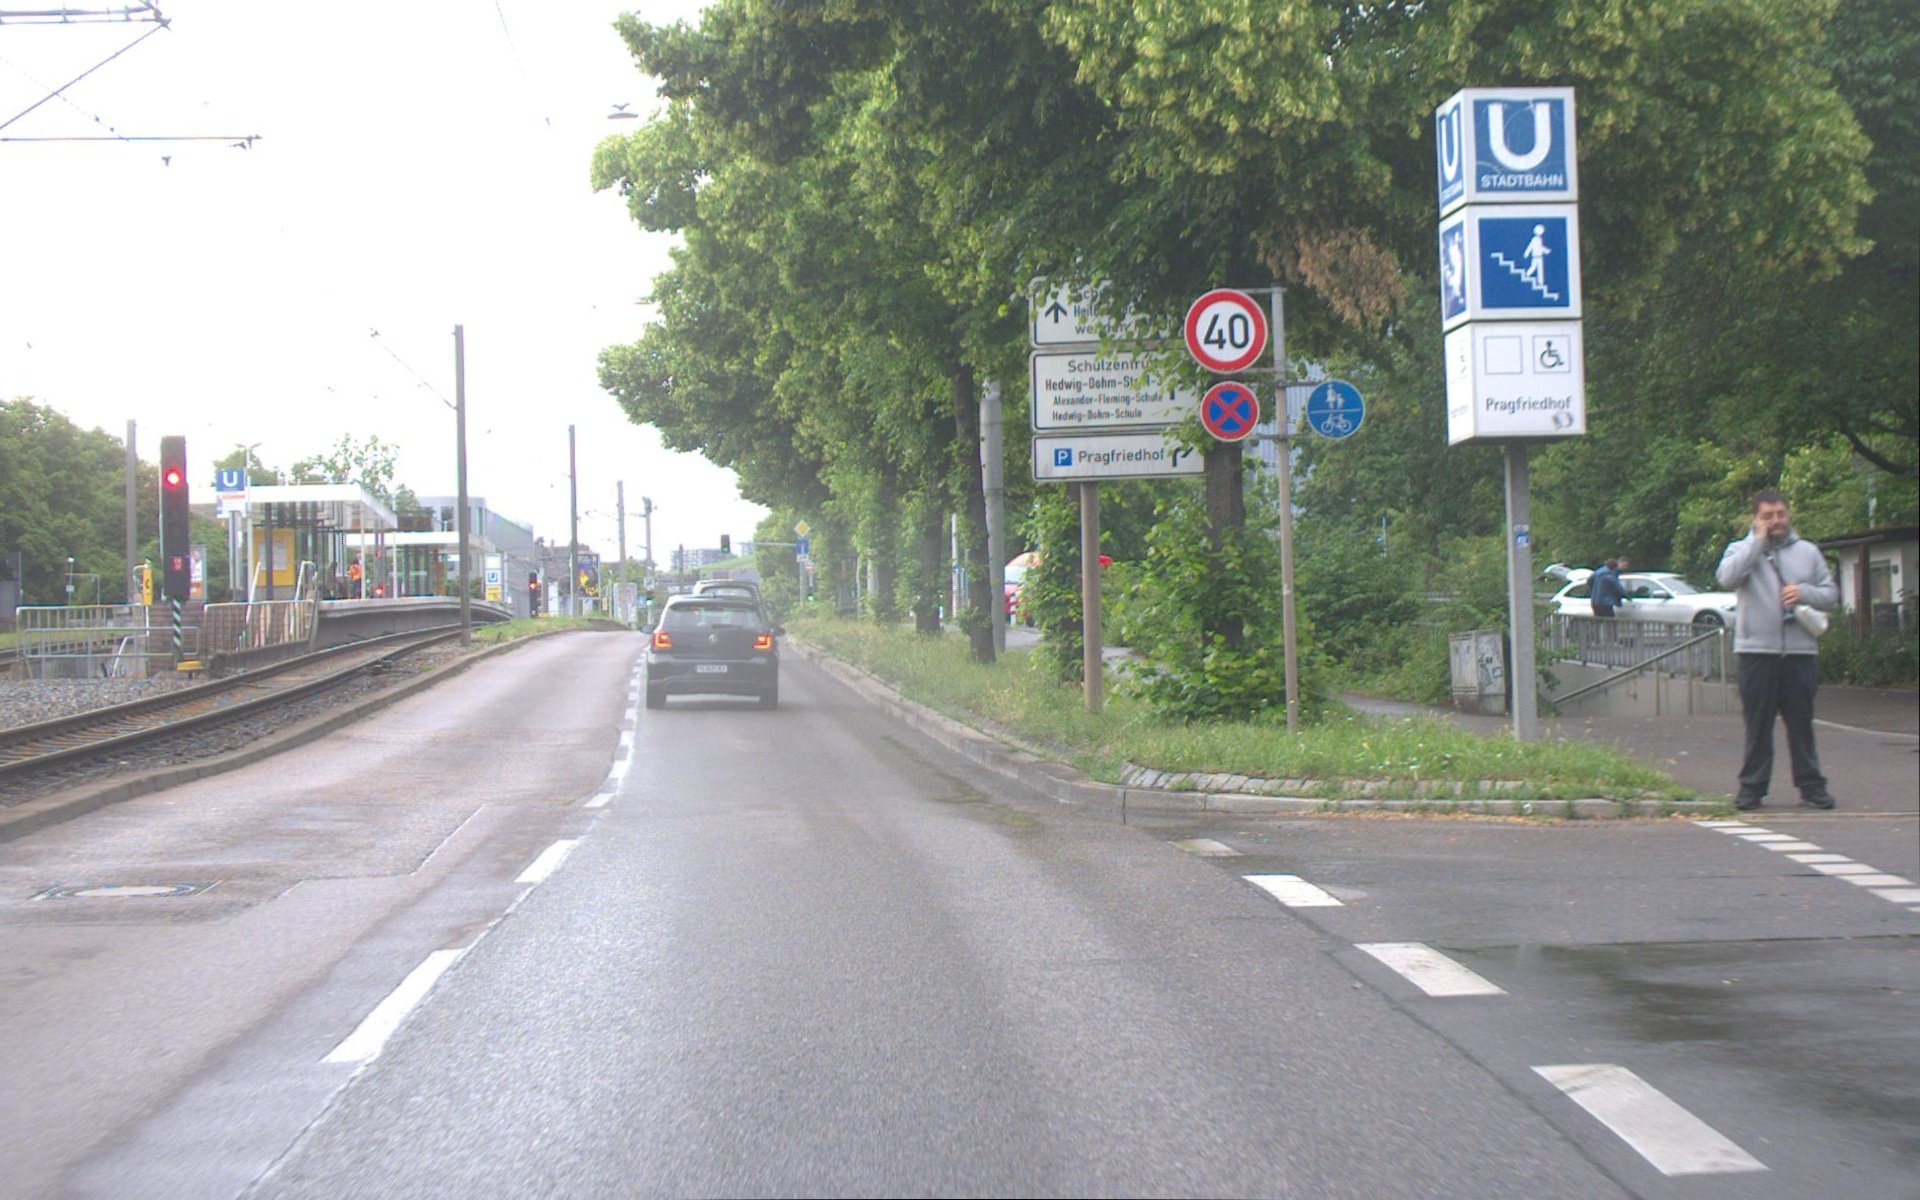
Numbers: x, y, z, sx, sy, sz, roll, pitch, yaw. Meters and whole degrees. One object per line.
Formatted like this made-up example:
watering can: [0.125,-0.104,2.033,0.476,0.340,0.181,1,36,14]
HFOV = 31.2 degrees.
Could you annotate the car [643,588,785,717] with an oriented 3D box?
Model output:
car: [-3.154,0.639,44.224,1.726,1.535,4.001,-1,0,-4]

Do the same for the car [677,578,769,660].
car: [-4.582,0.340,66.436,1.687,1.512,4.001,-1,0,-4]

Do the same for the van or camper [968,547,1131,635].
van or camper: [2.780,-0.259,105.416,2.039,2.398,5.379,3,0,39]

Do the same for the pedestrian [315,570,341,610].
pedestrian: [-19.462,-0.318,105.896,0.710,1.221,0.619,0,0,-3]

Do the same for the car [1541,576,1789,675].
car: [14.011,0.489,68.474,1.941,1.828,4.465,1,0,-44]

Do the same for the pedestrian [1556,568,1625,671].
pedestrian: [12.437,0.375,67.796,0.960,2.007,0.951,0,0,-27]

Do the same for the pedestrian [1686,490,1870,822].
pedestrian: [4.640,0.310,19.548,0.855,1.847,0.737,0,0,0]
